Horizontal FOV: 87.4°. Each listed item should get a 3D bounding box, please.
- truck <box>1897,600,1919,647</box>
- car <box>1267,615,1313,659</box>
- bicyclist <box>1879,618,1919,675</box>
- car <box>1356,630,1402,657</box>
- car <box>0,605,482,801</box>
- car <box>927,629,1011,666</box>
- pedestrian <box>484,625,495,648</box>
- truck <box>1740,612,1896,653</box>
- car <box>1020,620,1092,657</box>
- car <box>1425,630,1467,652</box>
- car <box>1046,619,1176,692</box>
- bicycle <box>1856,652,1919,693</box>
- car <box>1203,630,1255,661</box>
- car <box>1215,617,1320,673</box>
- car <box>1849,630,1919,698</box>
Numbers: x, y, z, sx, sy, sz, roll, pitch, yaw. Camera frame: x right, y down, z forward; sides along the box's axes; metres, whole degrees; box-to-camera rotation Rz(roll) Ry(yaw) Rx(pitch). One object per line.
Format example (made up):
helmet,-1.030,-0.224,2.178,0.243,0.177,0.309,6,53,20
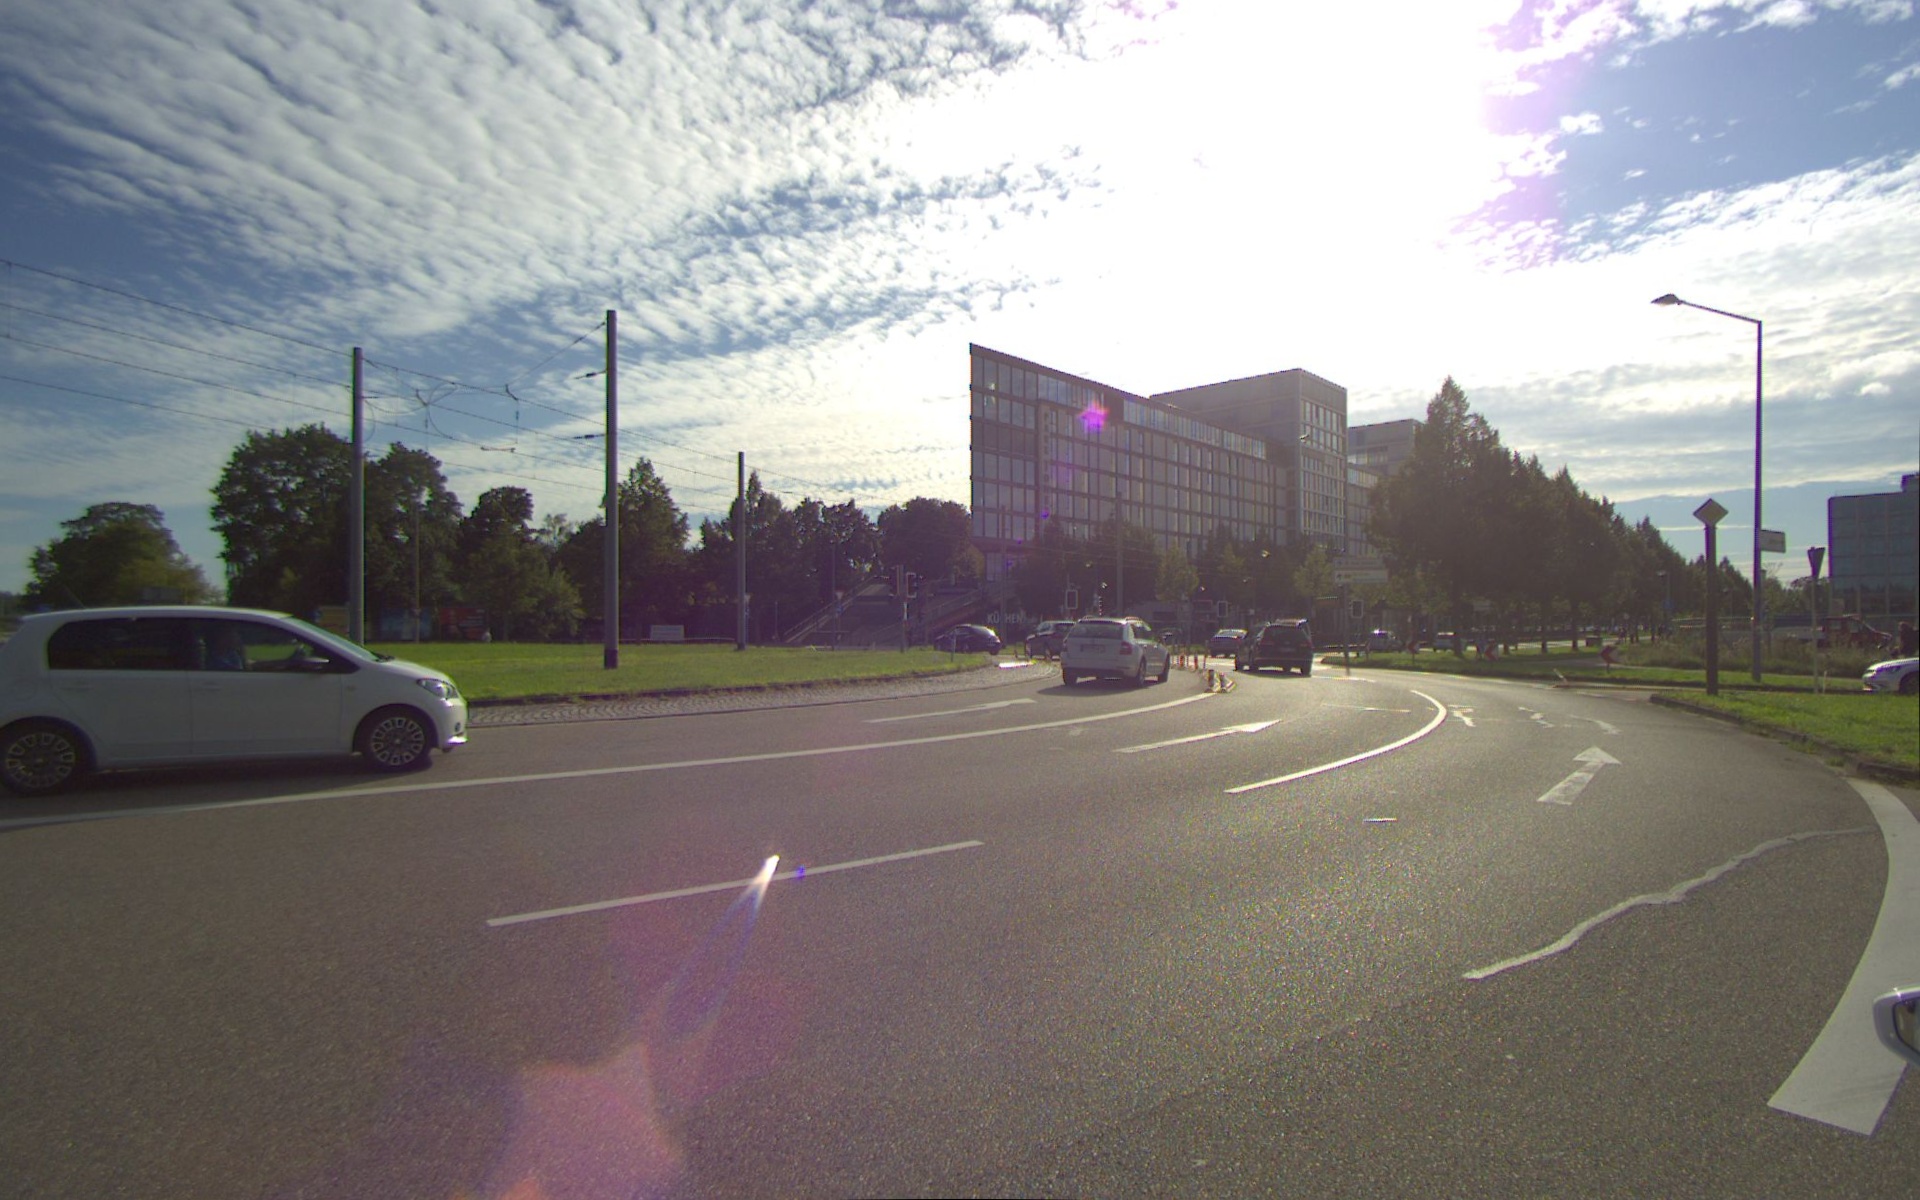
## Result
truck,69.551,1.720,72.039,2.772,3.249,7.287,-1,-2,38
car,15.507,1.698,47.358,1.864,1.928,4.662,0,0,16
bicyclist,26.268,1.280,27.792,0.692,1.531,1.008,0,-1,-11
car,30.686,3.139,73.541,1.873,1.928,4.639,-1,-2,39
car,-6.333,0.797,9.053,3.613,1.484,1.755,1,0,-28
car,0.422,2.281,49.146,1.986,1.562,3.949,-1,1,-43
pedestrian,-34.524,2.675,73.692,0.497,1.646,0.546,-1,-1,34
truck,56.869,2.129,66.801,7.747,2.601,3.058,-1,-2,42
car,3.881,1.534,41.160,1.805,1.450,3.991,0,-1,-13
car,36.507,3.051,75.425,1.873,1.632,4.640,-1,-2,39
car,3.534,1.161,22.771,1.821,1.464,4.636,0,-1,23
bicycle,26.240,1.997,27.789,0.692,1.077,2.201,0,-2,-9
car,14.150,2.342,52.646,1.866,1.450,4.657,0,0,25
car,9.541,1.399,31.582,1.960,1.587,4.846,1,-2,2
car,22.637,1.414,22.019,4.464,1.471,1.819,-1,-2,32
